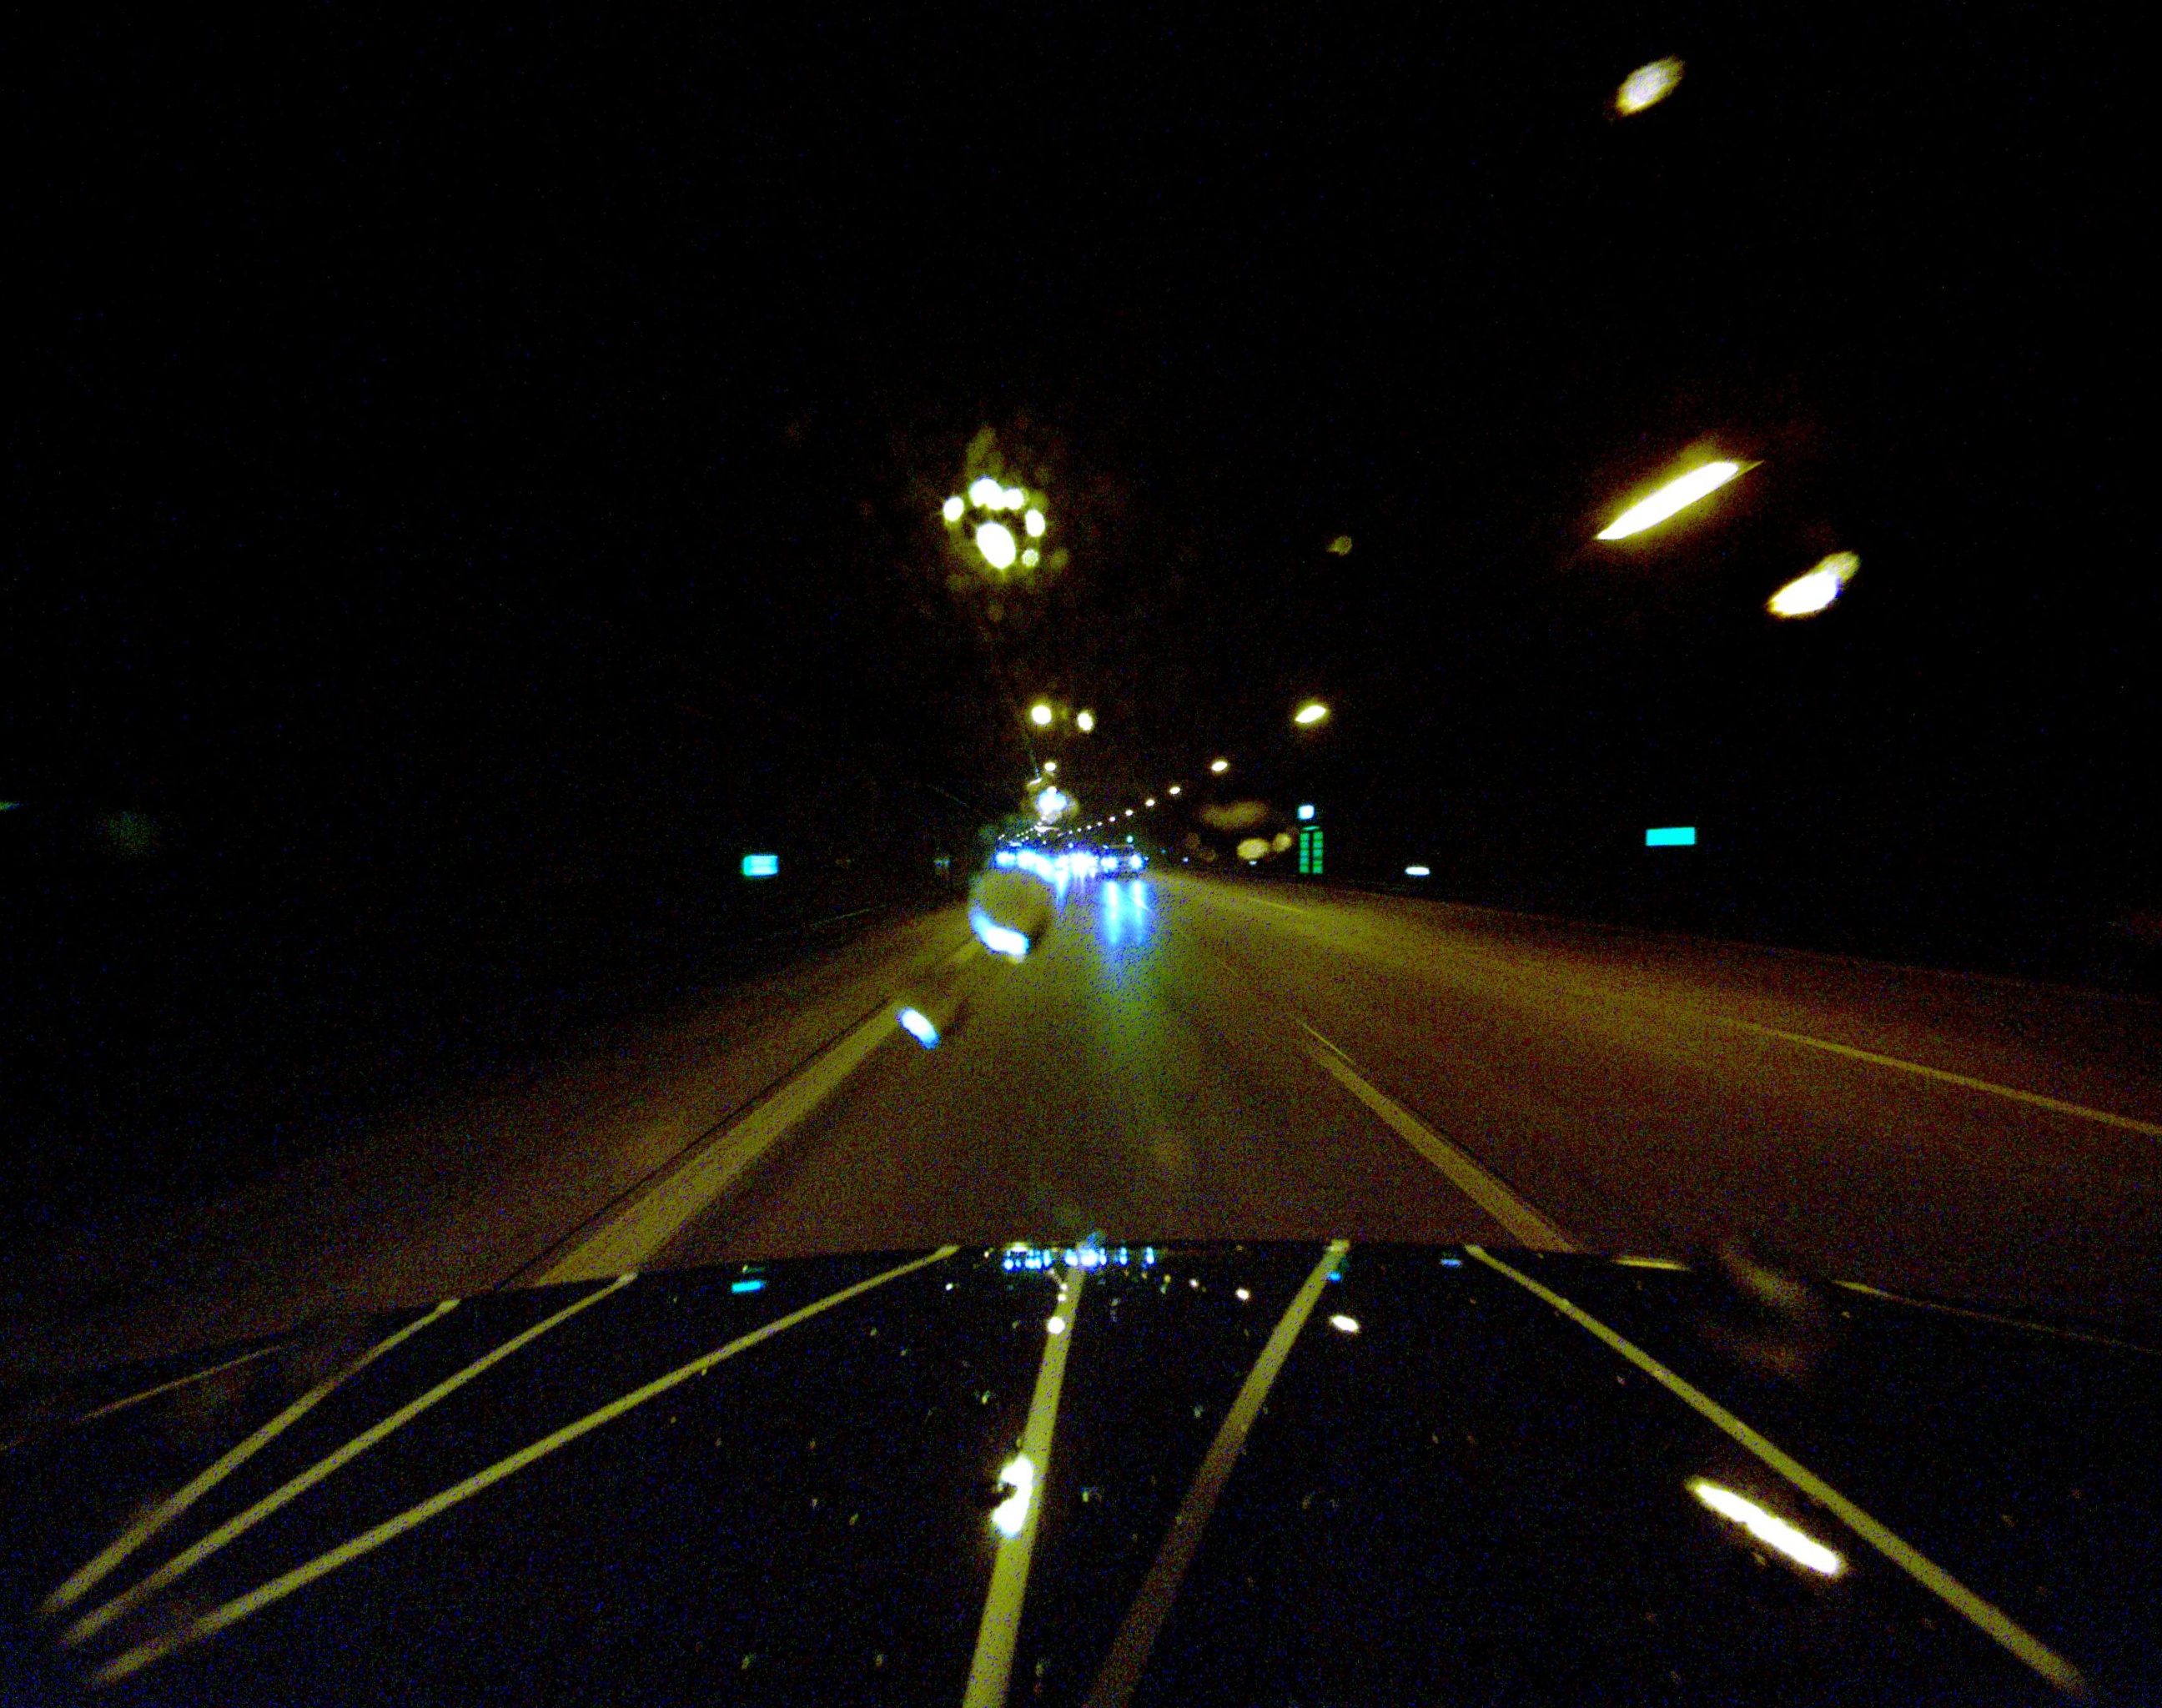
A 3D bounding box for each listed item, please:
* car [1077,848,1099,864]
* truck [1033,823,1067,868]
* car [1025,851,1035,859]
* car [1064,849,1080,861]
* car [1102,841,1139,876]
[{"bbox_3d":[0.703,0.187,79.295,1.911,1.638,3.998,-2,0,-4],"label":"car"},{"bbox_3d":[-3.086,-0.839,74.899,3.143,4.136,7.385,-2,1,-3],"label":"truck"},{"bbox_3d":[-11.867,0.298,177.151,2.000,1.729,3.997,-2,0,-8],"label":"car"},{"bbox_3d":[-1.182,0.127,99.492,1.759,1.567,3.997,-2,0,-6],"label":"car"},{"bbox_3d":[2.406,0.323,47.558,1.999,2.001,4.361,-1,-1,0],"label":"car"}]
